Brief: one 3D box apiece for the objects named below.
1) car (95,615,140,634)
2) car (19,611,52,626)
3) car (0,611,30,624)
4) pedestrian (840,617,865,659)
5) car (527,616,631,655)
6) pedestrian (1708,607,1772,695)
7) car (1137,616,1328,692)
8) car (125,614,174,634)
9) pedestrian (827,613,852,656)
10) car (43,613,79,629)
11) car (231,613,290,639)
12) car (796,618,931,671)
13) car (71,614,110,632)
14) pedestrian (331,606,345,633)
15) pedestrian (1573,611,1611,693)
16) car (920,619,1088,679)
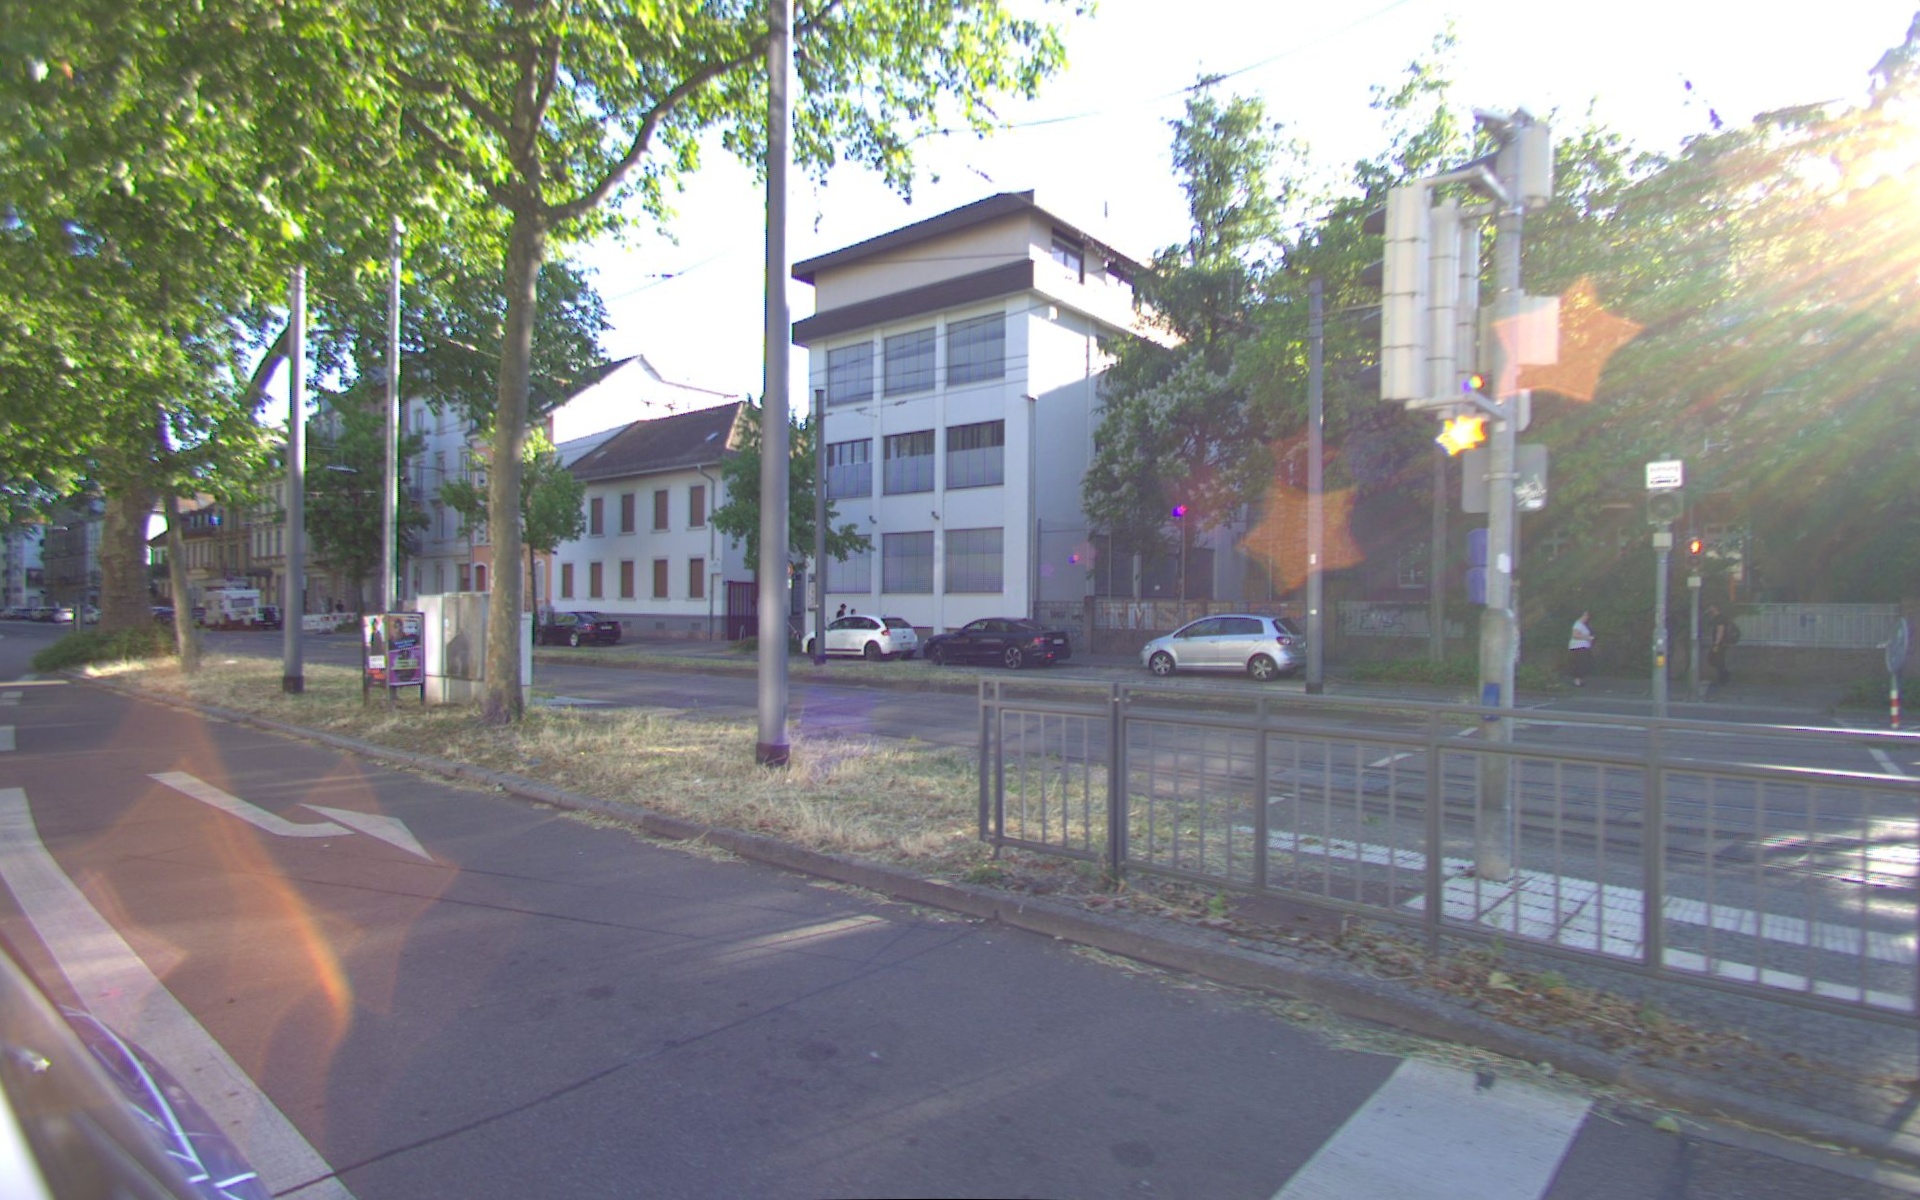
[{"bbox_3d":[-76.458,2.213,91.837,5.097,1.551,2.063,-1,1,37],"label":"car"},{"bbox_3d":[-103.894,2.043,113.739,4.003,1.551,2.063,-1,1,37],"label":"car"},{"bbox_3d":[-115.542,2.111,123.727,4.114,1.551,2.063,-1,1,37],"label":"car"},{"bbox_3d":[-3.958,1.402,37.269,0.711,1.540,0.530,-1,-2,39],"label":"pedestrian"},{"bbox_3d":[-16.329,1.489,43.279,4.572,1.481,2.063,-1,1,37],"label":"car"},{"bbox_3d":[16.123,1.030,20.948,1.018,1.765,0.727,-1,-2,38],"label":"pedestrian"},{"bbox_3d":[6.693,1.264,25.002,4.091,1.631,2.063,-1,1,37],"label":"car"},{"bbox_3d":[-66.622,1.929,83.187,4.509,1.551,2.063,-1,1,37],"label":"car"},{"bbox_3d":[-4.354,1.249,36.630,0.709,1.540,0.531,0,-2,33],"label":"pedestrian"},{"bbox_3d":[-95.616,2.248,107.593,4.249,1.551,2.063,-1,1,37],"label":"car"},{"bbox_3d":[-48.129,1.748,69.618,4.526,1.686,2.063,-1,1,37],"label":"car"},{"bbox_3d":[-3.149,1.382,32.751,3.991,1.501,2.063,-1,1,37],"label":"car"},{"bbox_3d":[-83.570,2.188,97.264,4.032,1.551,2.063,-1,1,37],"label":"car"},{"bbox_3d":[-42.773,1.328,69.601,0.704,1.823,0.554,-1,-2,38],"label":"pedestrian"},{"bbox_3d":[13.346,1.088,21.368,0.630,1.677,0.562,-1,1,38],"label":"pedestrian"},{"bbox_3d":[1.224,1.344,29.145,4.450,1.513,2.063,-1,1,37],"label":"car"}]
